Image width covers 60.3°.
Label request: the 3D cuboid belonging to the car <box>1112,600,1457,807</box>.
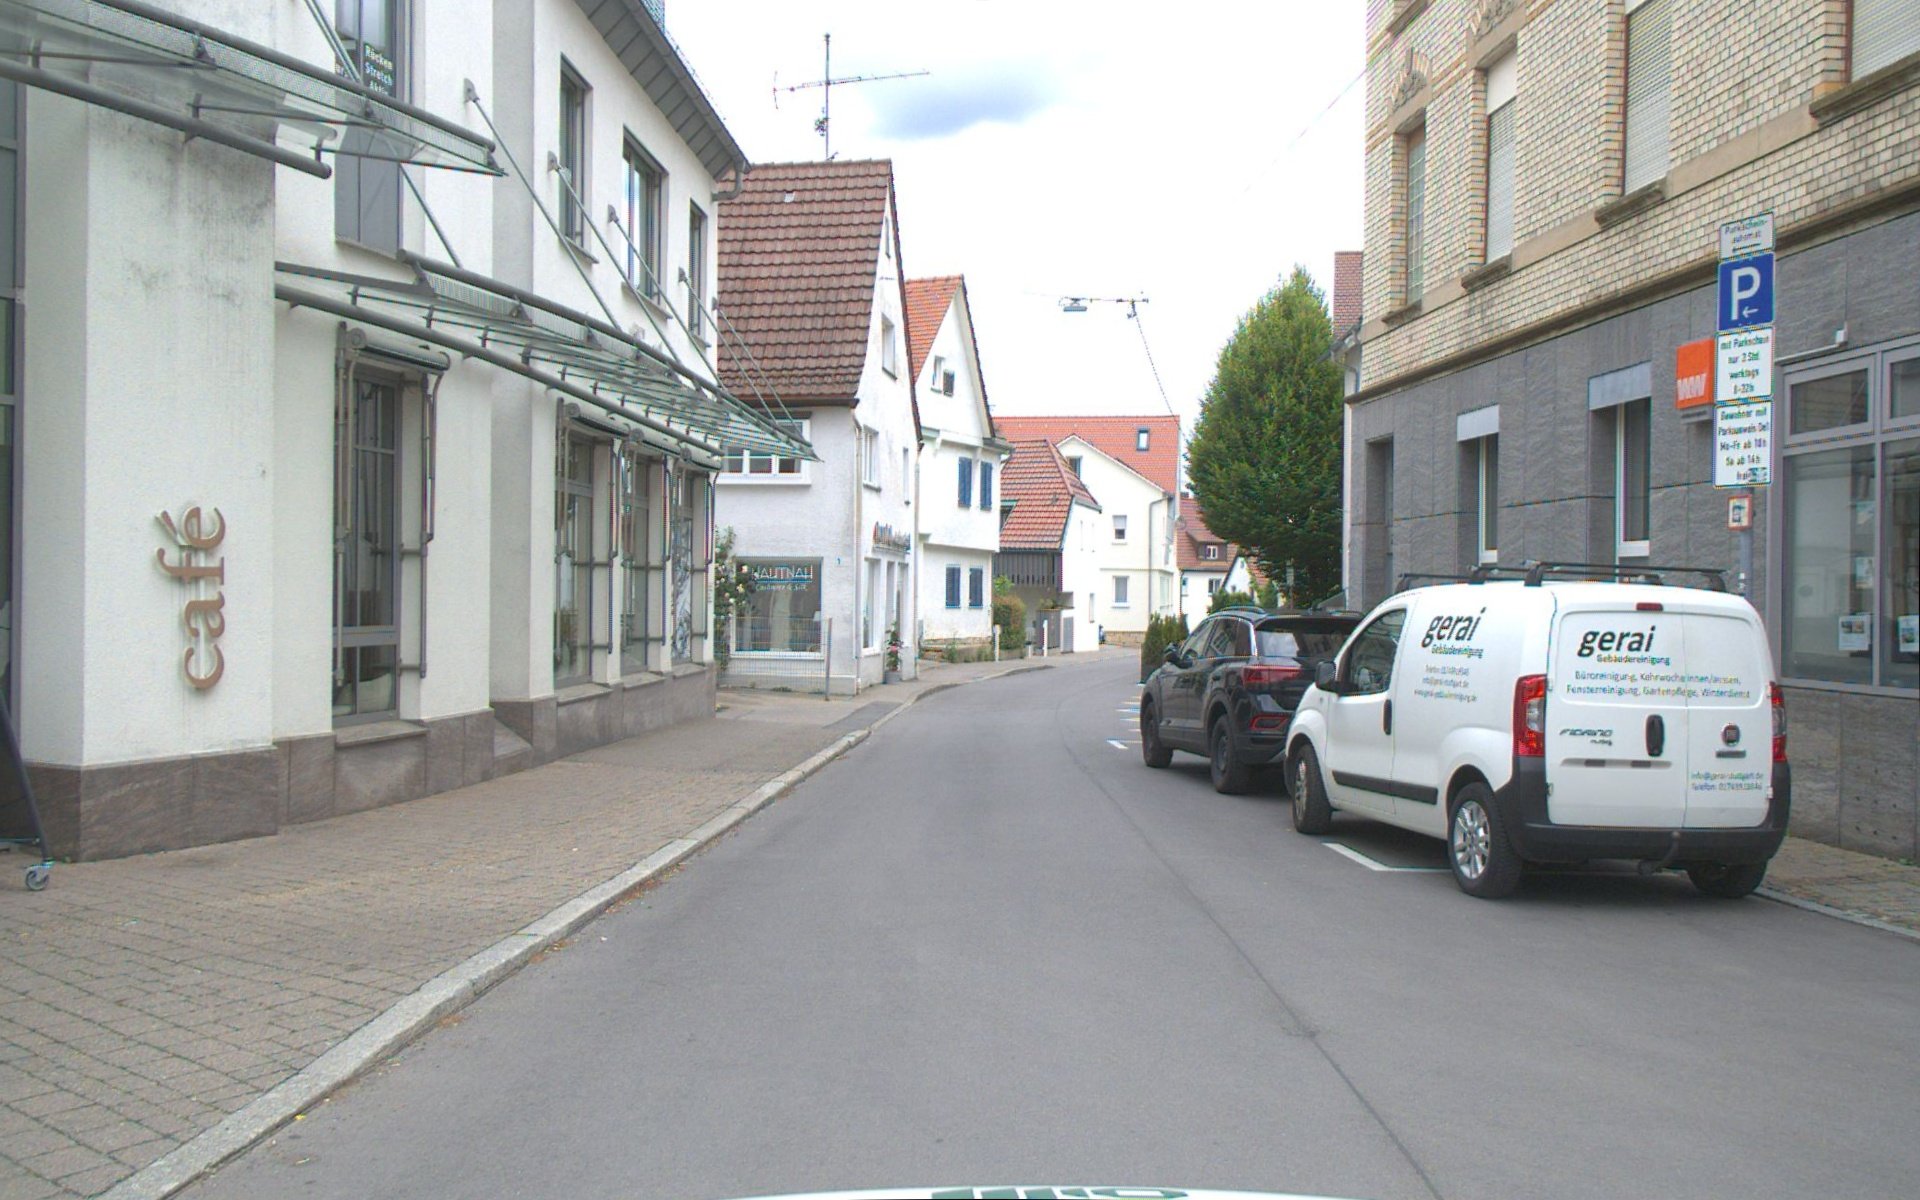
[{"bbox_3d":[2.817,0.847,15.468,1.754,1.628,4.533,1,-1,-8],"label":"car"}]

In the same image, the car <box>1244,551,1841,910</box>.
[{"bbox_3d":[3.397,0.672,10.622,1.792,1.823,4.209,1,0,-9],"label":"car"}]

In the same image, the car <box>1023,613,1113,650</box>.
[{"bbox_3d":[5.010,1.451,76.567,3.653,1.436,2.121,3,-2,17],"label":"car"}]

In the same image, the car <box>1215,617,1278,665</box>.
[{"bbox_3d":[10.880,1.527,62.627,1.951,1.644,4.882,2,0,14],"label":"car"}]

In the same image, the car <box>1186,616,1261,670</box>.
[{"bbox_3d":[8.185,1.308,51.063,1.906,1.534,4.824,1,-1,14],"label":"car"}]
